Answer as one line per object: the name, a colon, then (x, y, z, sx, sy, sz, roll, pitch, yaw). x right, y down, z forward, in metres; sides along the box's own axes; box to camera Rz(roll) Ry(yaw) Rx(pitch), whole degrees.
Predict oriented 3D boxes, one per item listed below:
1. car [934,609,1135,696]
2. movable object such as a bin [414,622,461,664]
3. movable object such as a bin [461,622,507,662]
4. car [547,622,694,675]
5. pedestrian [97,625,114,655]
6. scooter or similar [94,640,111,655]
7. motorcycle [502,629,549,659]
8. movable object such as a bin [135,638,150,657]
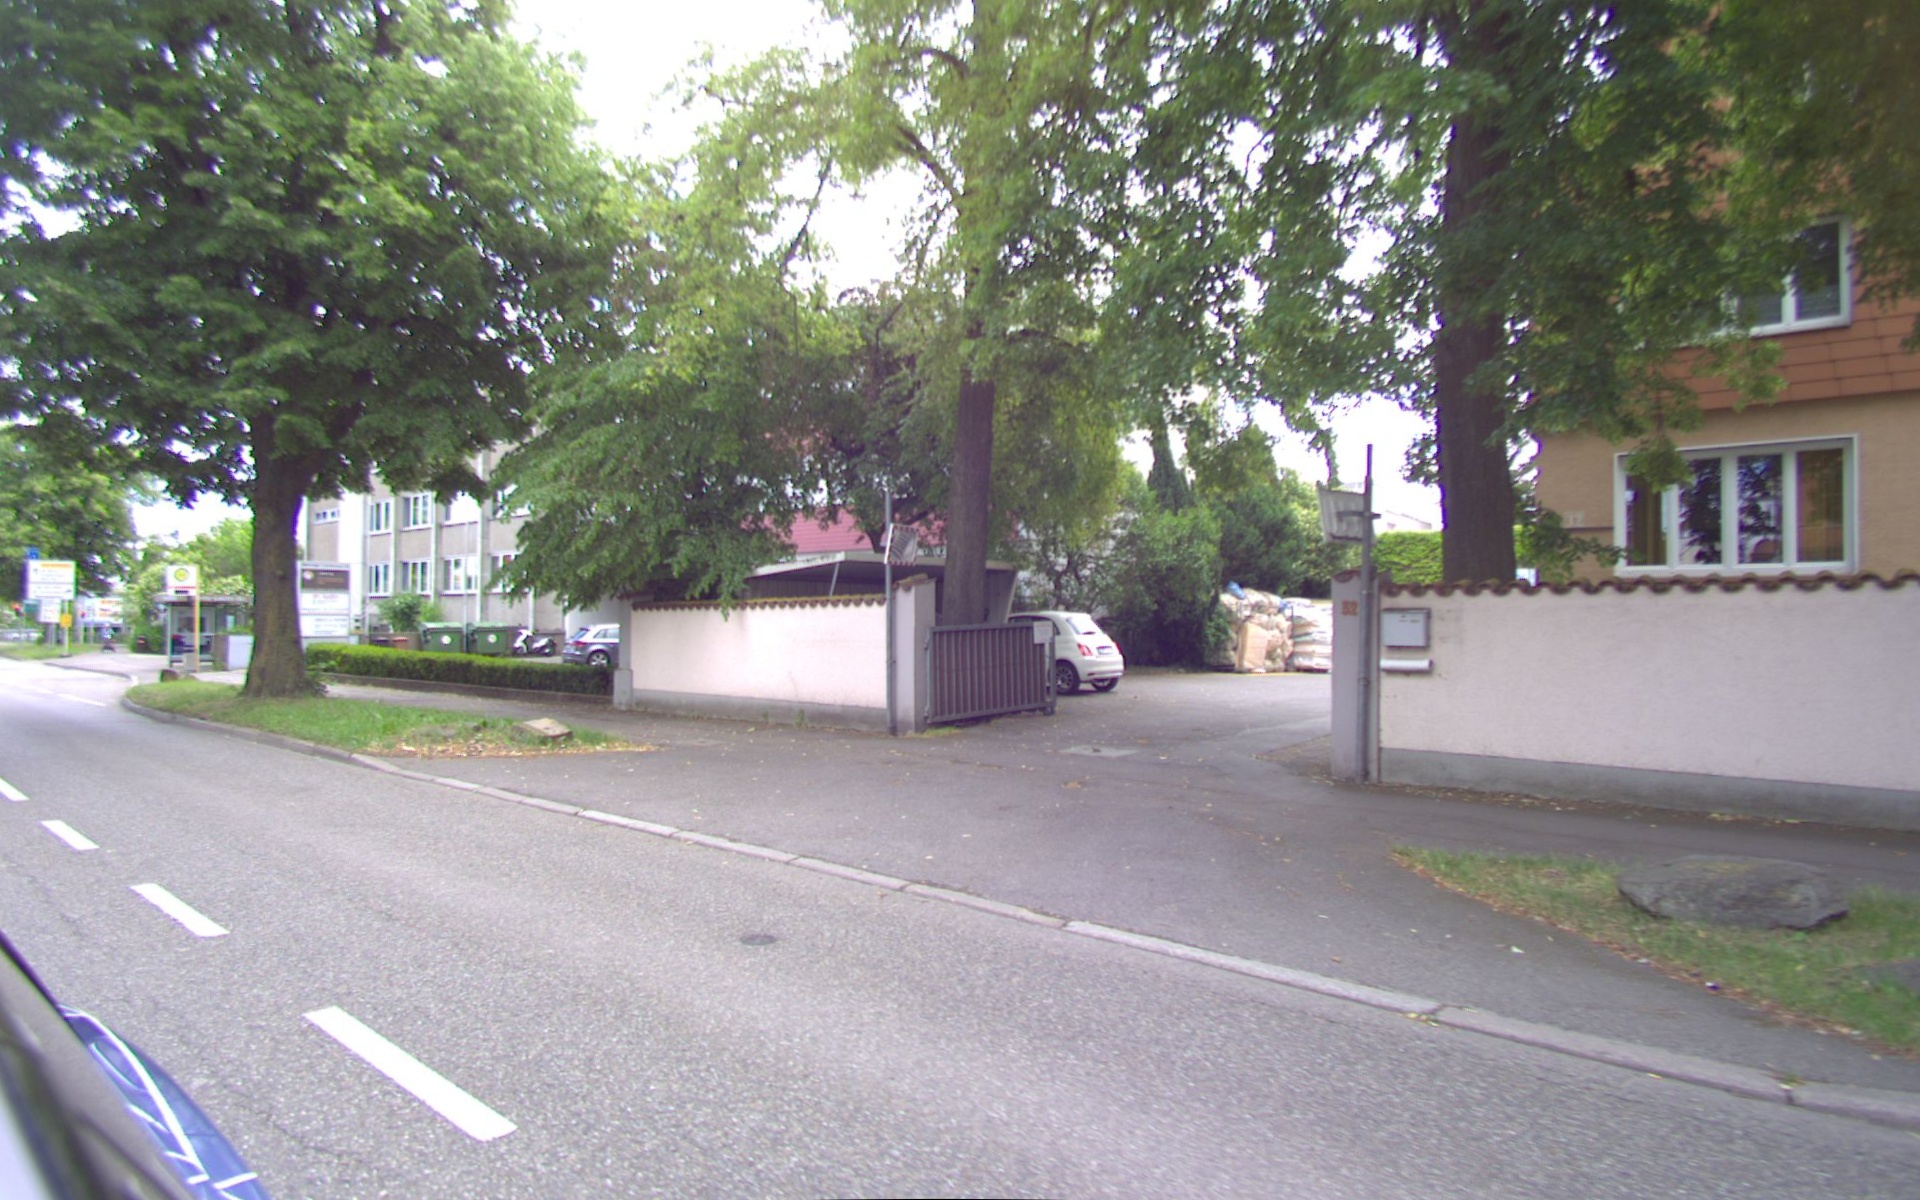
car: (1.369, 0.933, 19.385, 3.615, 1.497, 1.604, -1, -1, 41)
movable object such as a bin: (-19.413, 1.587, 37.622, 0.992, 1.476, 1.285, -1, -1, 40)
movable object such as a bin: (-18.288, 1.591, 38.875, 0.884, 1.476, 1.347, -1, -1, 40)
car: (-10.721, 1.479, 32.032, 4.082, 1.490, 1.817, 0, 0, -35)
pedestrian: (-46.446, 2.178, 55.016, 0.662, 1.570, 0.521, 0, -1, -33)
scooter or similar: (-45.935, 2.531, 54.225, 0.598, 0.792, 0.861, 0, -1, -33)
motorcycle: (-17.251, 1.730, 40.219, 0.639, 1.148, 1.624, -1, -1, 41)
movable object such as a bin: (-42.937, 2.485, 53.133, 0.558, 0.934, 0.609, 1, -1, -34)
